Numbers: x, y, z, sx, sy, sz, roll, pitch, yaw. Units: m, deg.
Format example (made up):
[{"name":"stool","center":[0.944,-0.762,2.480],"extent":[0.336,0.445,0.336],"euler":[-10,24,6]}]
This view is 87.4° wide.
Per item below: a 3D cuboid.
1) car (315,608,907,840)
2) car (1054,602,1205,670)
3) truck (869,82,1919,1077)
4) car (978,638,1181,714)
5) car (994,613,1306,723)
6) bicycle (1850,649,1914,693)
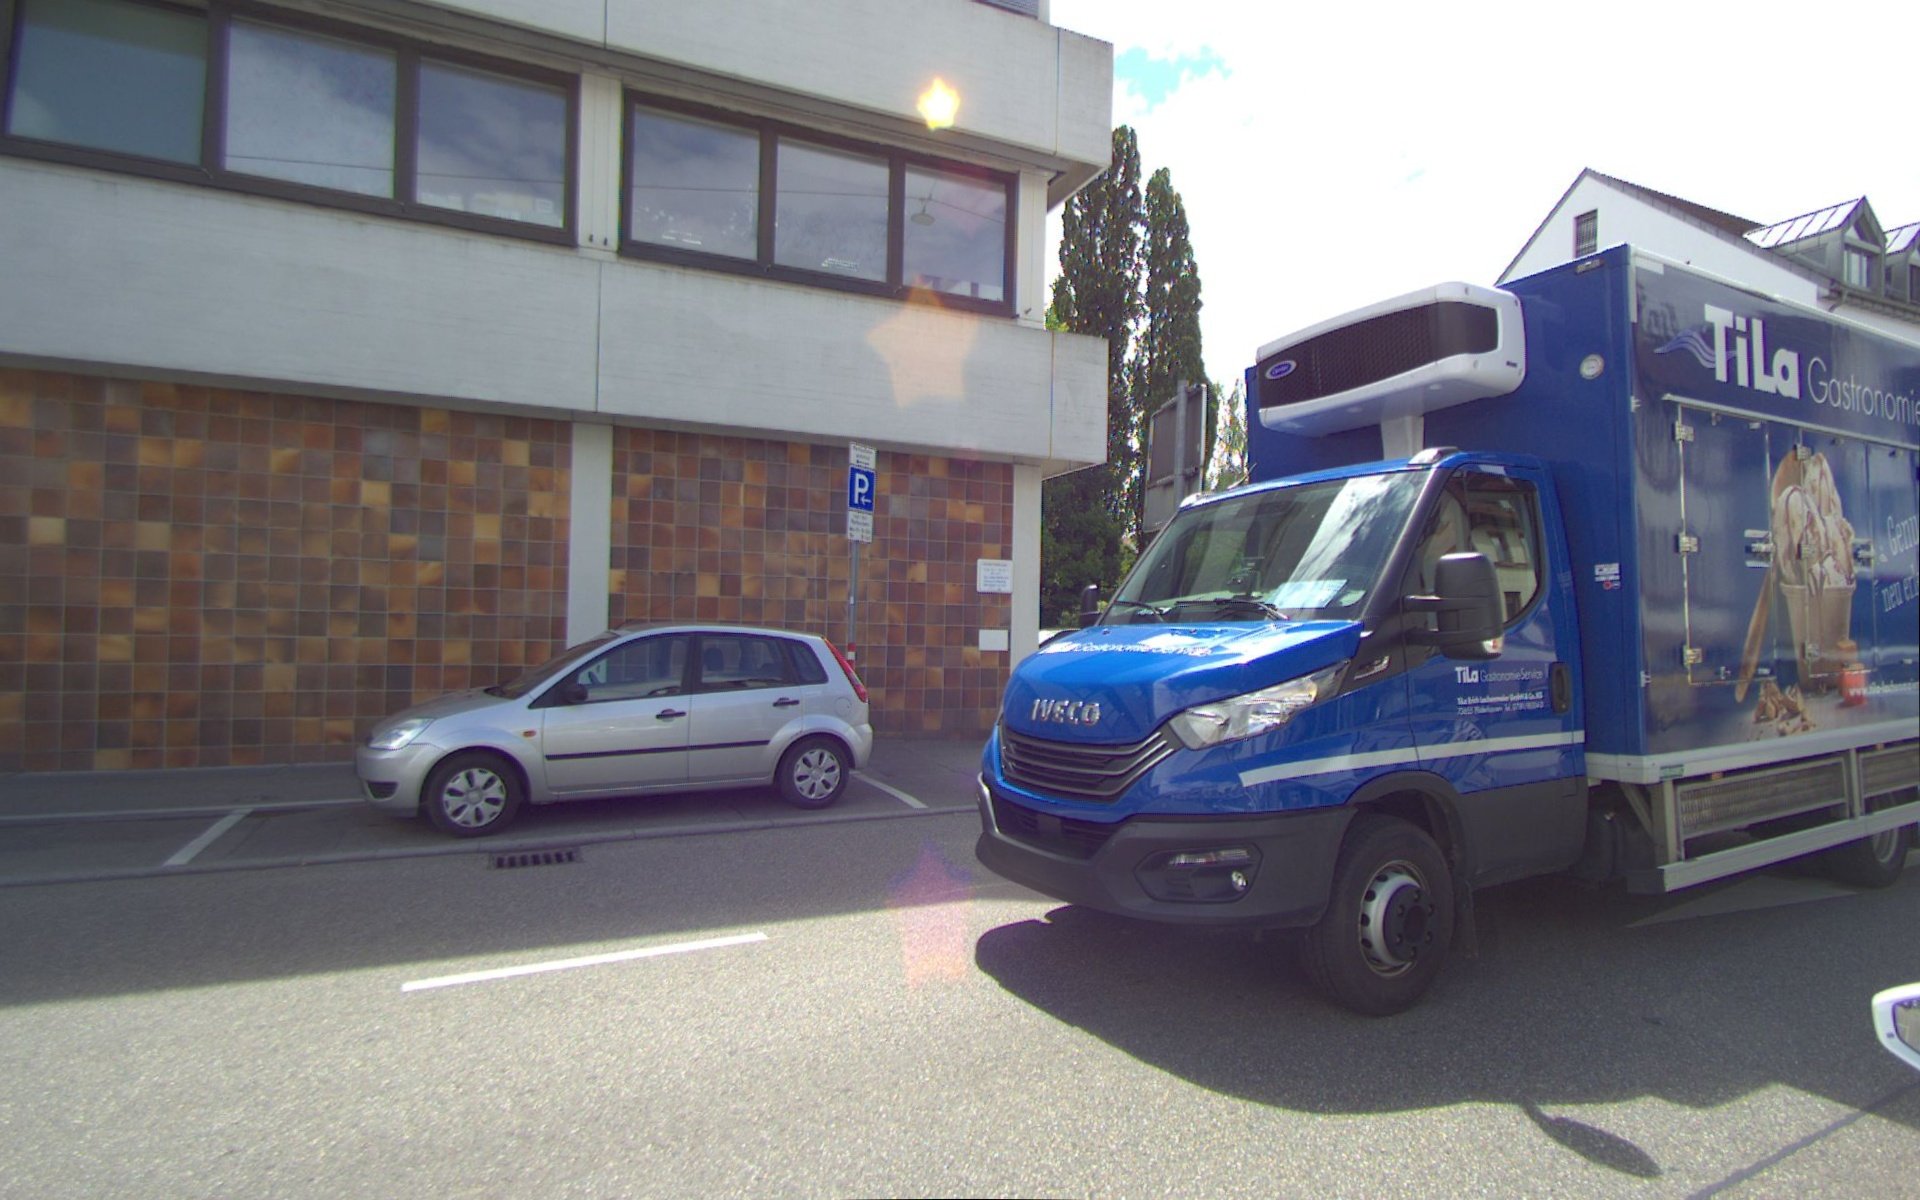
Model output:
[{"name":"car","center":[-2.646,0.832,8.068],"extent":[4.096,1.441,1.715],"euler":[1,0,-29]},{"name":"car","center":[6.815,1.491,40.336],"extent":[5.897,2.563,2.056],"euler":[2,-3,-26]},{"name":"truck","center":[3.669,0.049,6.344],"extent":[7.989,3.133,2.842],"euler":[2,-2,-29]},{"name":"car","center":[2.321,1.428,19.547],"extent":[3.557,1.348,1.757],"euler":[1,-2,-26]},{"name":"car","center":[3.179,1.107,16.807],"extent":[4.857,1.640,1.948],"euler":[1,-4,-22]},{"name":"bicycle","center":[24.643,1.876,26.843],"extent":[1.977,1.109,0.628],"euler":[1,-1,-27]}]
